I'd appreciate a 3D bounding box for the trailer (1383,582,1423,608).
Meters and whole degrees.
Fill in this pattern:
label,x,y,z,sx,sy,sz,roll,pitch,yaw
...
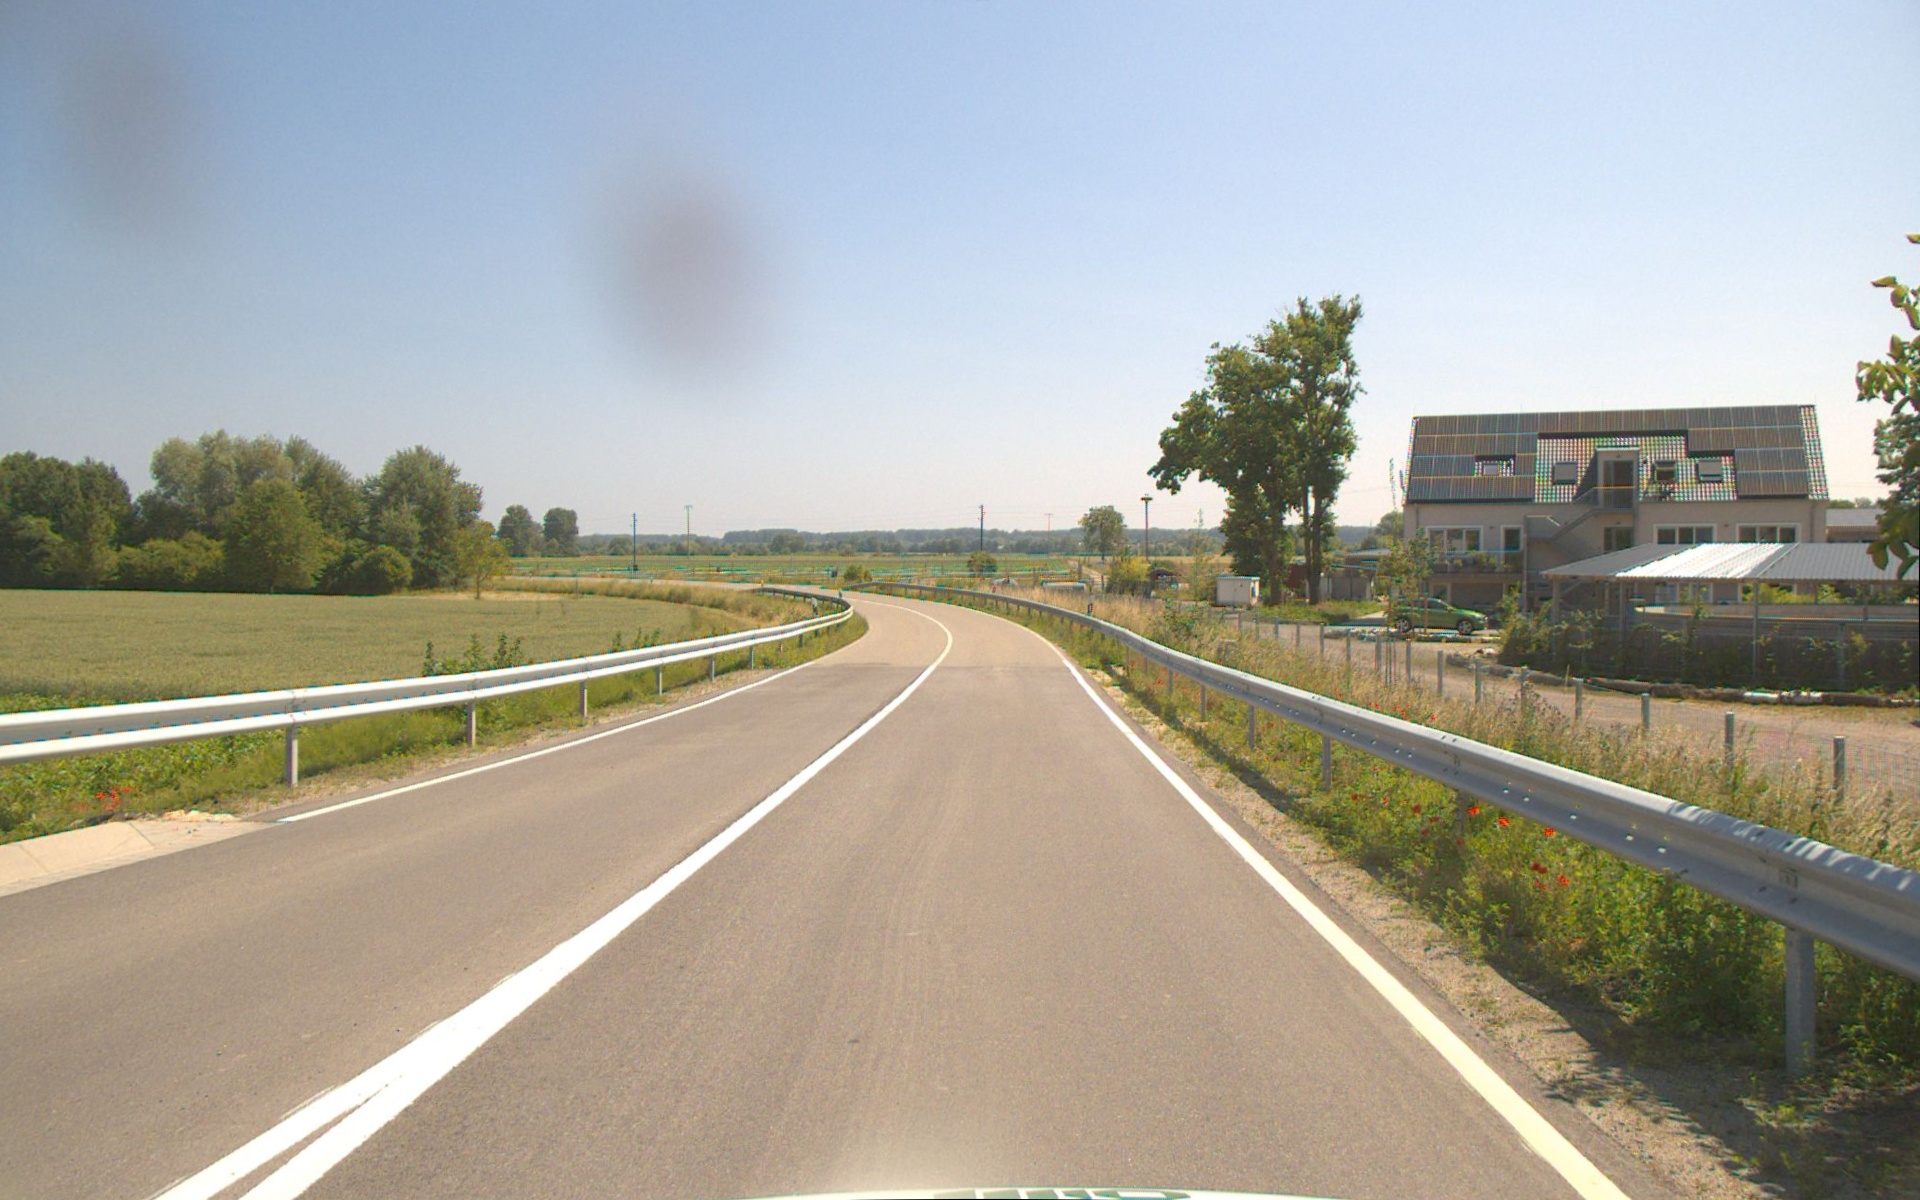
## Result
label,x,y,z,sx,sy,sz,roll,pitch,yaw
trailer,26.797,-0.273,100.002,1.678,1.522,3.136,1,0,28

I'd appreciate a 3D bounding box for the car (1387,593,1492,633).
label,x,y,z,sx,sy,sz,roll,pitch,yaw
car,21.107,0.570,72.790,4.271,1.608,1.933,2,0,22
